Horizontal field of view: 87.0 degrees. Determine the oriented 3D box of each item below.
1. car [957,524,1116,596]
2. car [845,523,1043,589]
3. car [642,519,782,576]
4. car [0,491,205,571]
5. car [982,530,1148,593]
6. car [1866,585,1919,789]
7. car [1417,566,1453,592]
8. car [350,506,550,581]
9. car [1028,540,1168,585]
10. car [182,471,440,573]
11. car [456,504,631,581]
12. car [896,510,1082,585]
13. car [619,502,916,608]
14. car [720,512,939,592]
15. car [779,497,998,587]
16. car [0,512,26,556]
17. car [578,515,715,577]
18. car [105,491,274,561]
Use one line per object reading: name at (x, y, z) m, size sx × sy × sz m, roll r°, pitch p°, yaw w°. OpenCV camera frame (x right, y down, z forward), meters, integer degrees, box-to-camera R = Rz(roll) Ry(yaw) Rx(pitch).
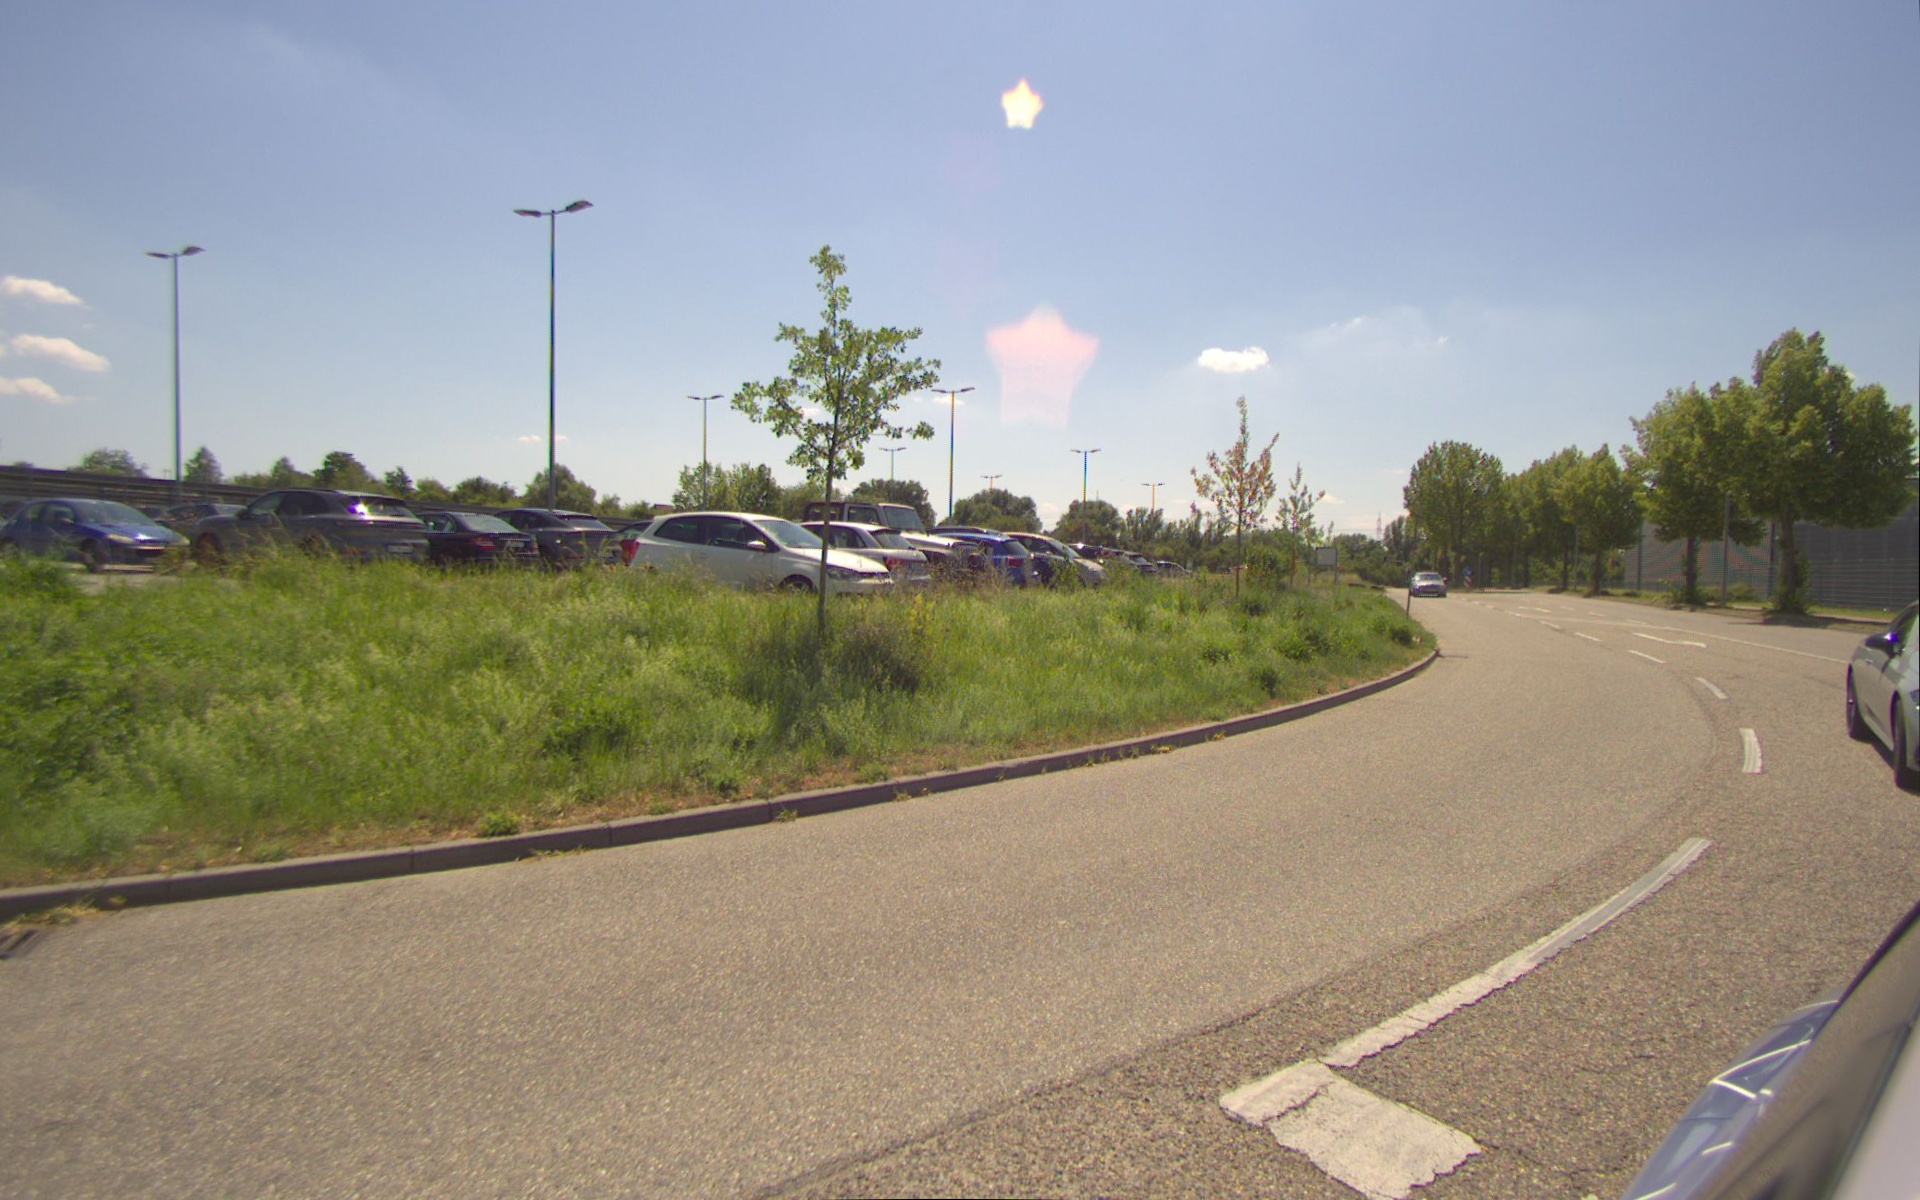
car at (2.001, -1.061, 26.262) m, size 3.802 × 1.644 × 1.607 m, roll 3°, pitch 3°, yaw 20°
car at (-0.327, -0.968, 21.376) m, size 3.897 × 1.272 × 1.577 m, roll 2°, pitch 4°, yaw 20°
car at (-7.551, -1.590, 30.862) m, size 3.829 × 1.619 × 1.730 m, roll 0°, pitch 2°, yaw 19°
car at (-17.480, -1.397, 20.504) m, size 3.587 × 1.463 × 1.646 m, roll 3°, pitch 3°, yaw 15°
car at (2.992, -1.123, 28.752) m, size 4.350 × 1.564 × 1.803 m, roll 3°, pitch 3°, yaw 21°
car at (8.782, 0.599, 8.213) m, size 1.890 × 1.400 × 4.568 m, roll 1°, pitch 2°, yaw 39°
car at (27.881, -1.236, 59.509) m, size 1.655 × 1.391 × 4.464 m, roll -1°, pitch 2°, yaw 23°
car at (-10.713, -1.212, 21.266) m, size 3.803 × 1.379 × 1.642 m, roll 3°, pitch 3°, yaw 21°
car at (4.257, -1.156, 31.197) m, size 3.955 × 1.307 × 1.895 m, roll 0°, pitch 3°, yaw 24°
car at (-12.194, -1.375, 19.011) m, size 4.548 × 1.711 × 1.765 m, roll 0°, pitch 1°, yaw 21°
car at (-9.771, -1.358, 23.779) m, size 3.596 × 1.616 × 1.758 m, roll 3°, pitch 3°, yaw 21°
car at (0.693, -1.198, 23.707) m, size 3.988 × 1.447 × 1.677 m, roll -3°, pitch 1°, yaw 20°
car at (-2.667, -0.670, 13.977) m, size 3.835 × 1.312 × 1.563 m, roll 2°, pitch 4°, yaw 23°
car at (-2.101, -0.818, 16.416) m, size 3.233 × 1.196 × 1.491 m, roll 2°, pitch 4°, yaw 22°
car at (-1.344, -1.125, 19.018) m, size 3.713 × 1.545 × 1.860 m, roll 2°, pitch 4°, yaw 27°
car at (-26.368, -1.752, 26.150) m, size 3.693 × 1.098 × 1.563 m, roll 3°, pitch 4°, yaw 15°
car at (-8.677, -1.481, 28.024) m, size 3.376 × 1.593 × 1.514 m, roll 0°, pitch 2°, yaw 19°
car at (-18.414, -1.774, 24.193) m, size 3.596 × 1.517 × 1.588 m, roll 3°, pitch 3°, yaw 21°
